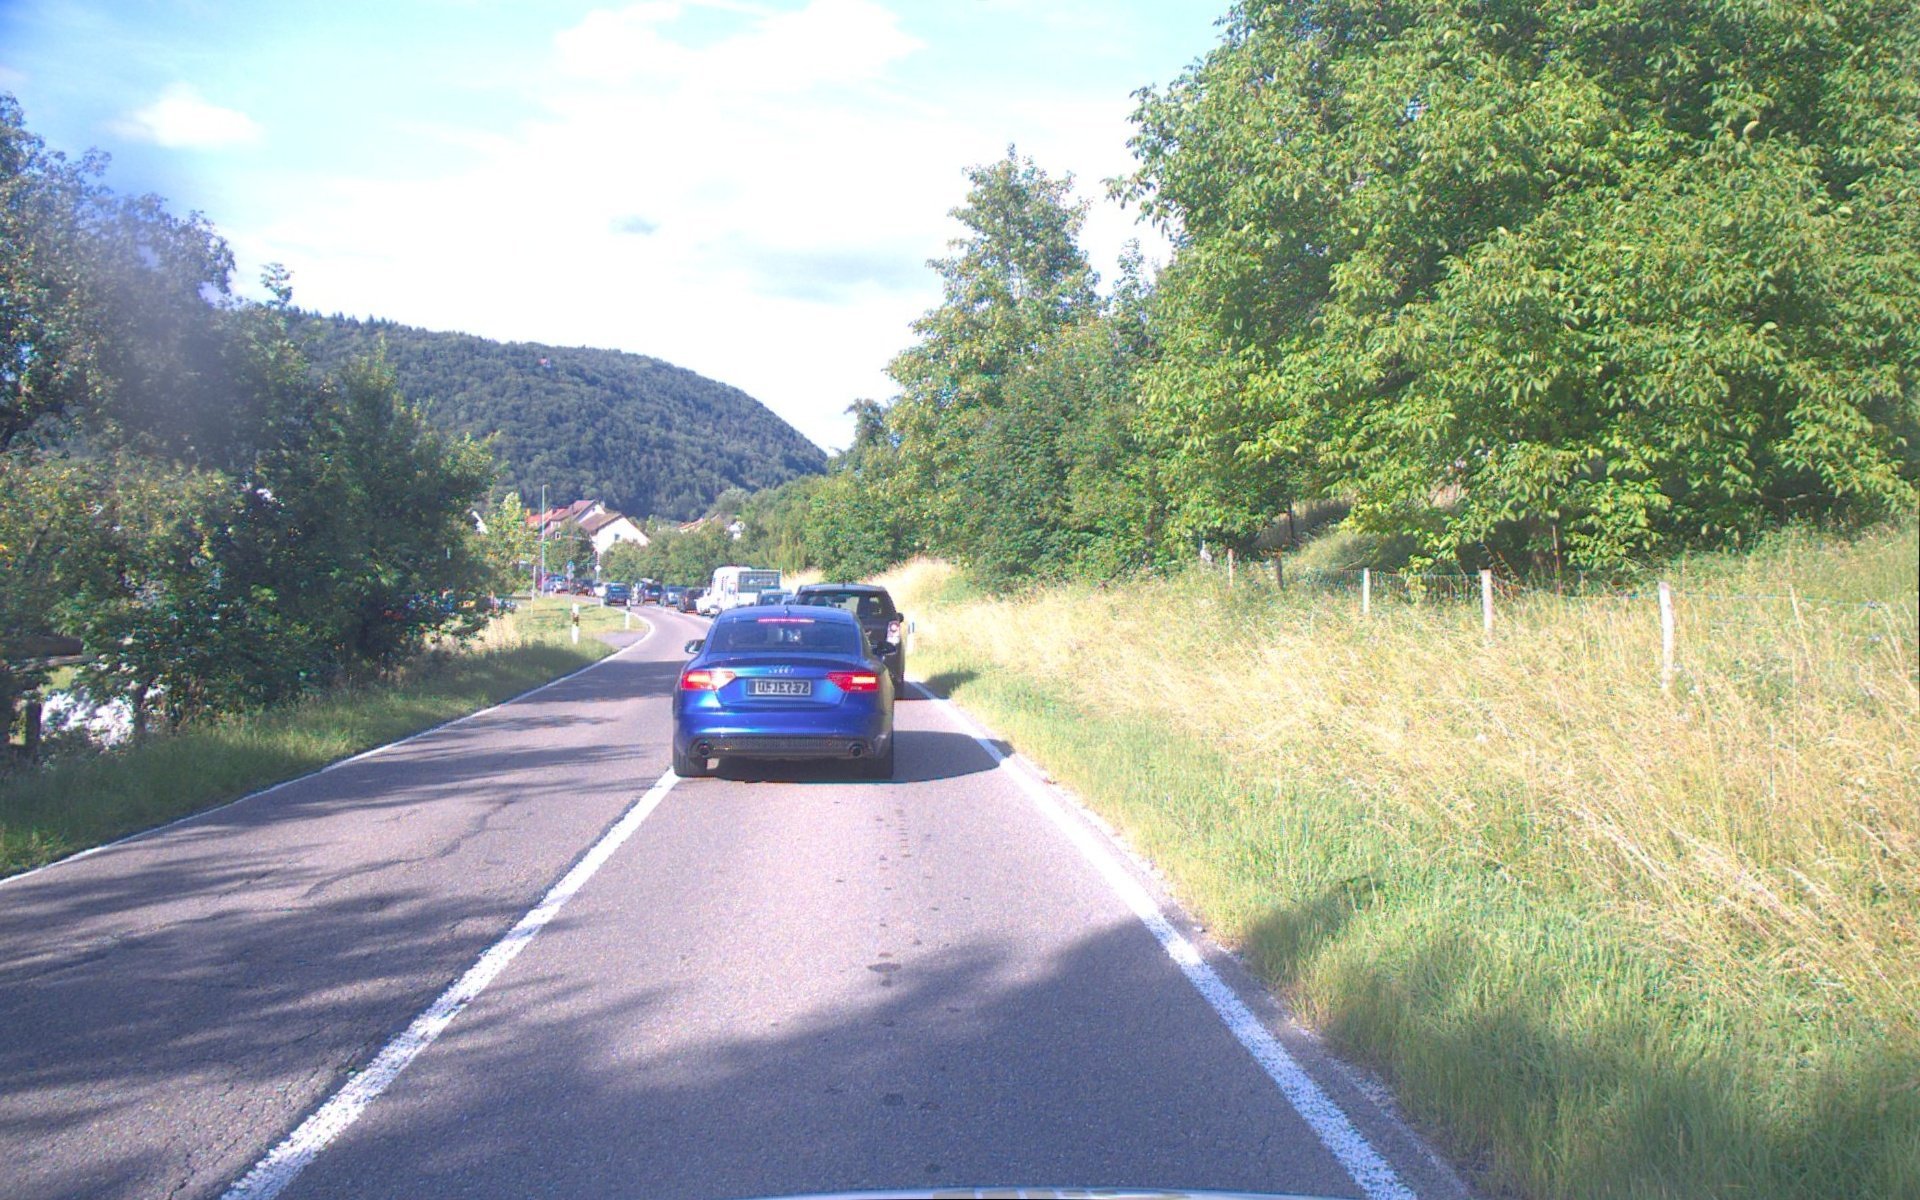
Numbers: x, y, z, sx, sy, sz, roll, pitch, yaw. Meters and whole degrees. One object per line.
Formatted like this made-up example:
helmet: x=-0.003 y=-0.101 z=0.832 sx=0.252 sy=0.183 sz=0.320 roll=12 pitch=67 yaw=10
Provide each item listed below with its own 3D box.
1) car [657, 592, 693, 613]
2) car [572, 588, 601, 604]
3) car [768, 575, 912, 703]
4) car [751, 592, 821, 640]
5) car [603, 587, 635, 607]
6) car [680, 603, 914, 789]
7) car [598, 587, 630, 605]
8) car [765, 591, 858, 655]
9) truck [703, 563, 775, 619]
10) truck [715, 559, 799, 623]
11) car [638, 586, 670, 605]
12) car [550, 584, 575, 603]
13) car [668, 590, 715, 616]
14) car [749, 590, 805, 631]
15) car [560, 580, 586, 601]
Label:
car: x=-20.681 y=0.183 z=119.893 sx=1.963 sy=1.508 sz=3.979 roll=1 pitch=0 yaw=-18
car: x=-36.237 y=-0.366 z=160.291 sx=1.968 sy=1.508 sz=3.970 roll=1 pitch=0 yaw=-24
car: x=-1.728 y=0.548 z=24.783 sx=1.953 sy=1.732 sz=3.998 roll=1 pitch=0 yaw=-2
car: x=-5.715 y=0.511 z=54.088 sx=1.958 sy=1.508 sz=3.990 roll=1 pitch=0 yaw=-11
car: x=-25.256 y=-0.212 z=122.303 sx=1.962 sy=1.400 sz=3.981 roll=1 pitch=0 yaw=-17
car: x=-1.420 y=0.726 z=14.501 sx=1.759 sy=1.383 sz=3.995 roll=0 pitch=0 yaw=-6
car: x=-30.724 y=-0.340 z=146.682 sx=1.968 sy=1.508 sz=3.970 roll=1 pitch=0 yaw=-24
car: x=-3.612 y=0.532 z=39.627 sx=1.957 sy=1.411 sz=3.991 roll=1 pitch=0 yaw=-9
truck: x=-11.720 y=-0.472 z=86.819 sx=2.814 sy=2.712 sz=10.610 roll=1 pitch=0 yaw=-13
truck: x=-9.425 y=-0.396 z=75.782 sx=2.814 sy=2.712 sz=10.359 roll=1 pitch=0 yaw=-13
car: x=-24.224 y=-0.351 z=130.751 sx=1.963 sy=1.508 sz=3.979 roll=1 pitch=0 yaw=-18
car: x=-43.050 y=-0.722 z=178.921 sx=1.967 sy=2.049 sz=3.971 roll=1 pitch=0 yaw=-23
car: x=-16.301 y=0.153 z=100.154 sx=1.966 sy=1.508 sz=3.973 roll=1 pitch=0 yaw=-22
car: x=-7.156 y=0.393 z=64.429 sx=1.957 sy=1.508 sz=3.991 roll=1 pitch=0 yaw=-9
car: x=-39.524 y=-0.962 z=168.924 sx=1.967 sy=2.049 sz=3.971 roll=1 pitch=0 yaw=-23
